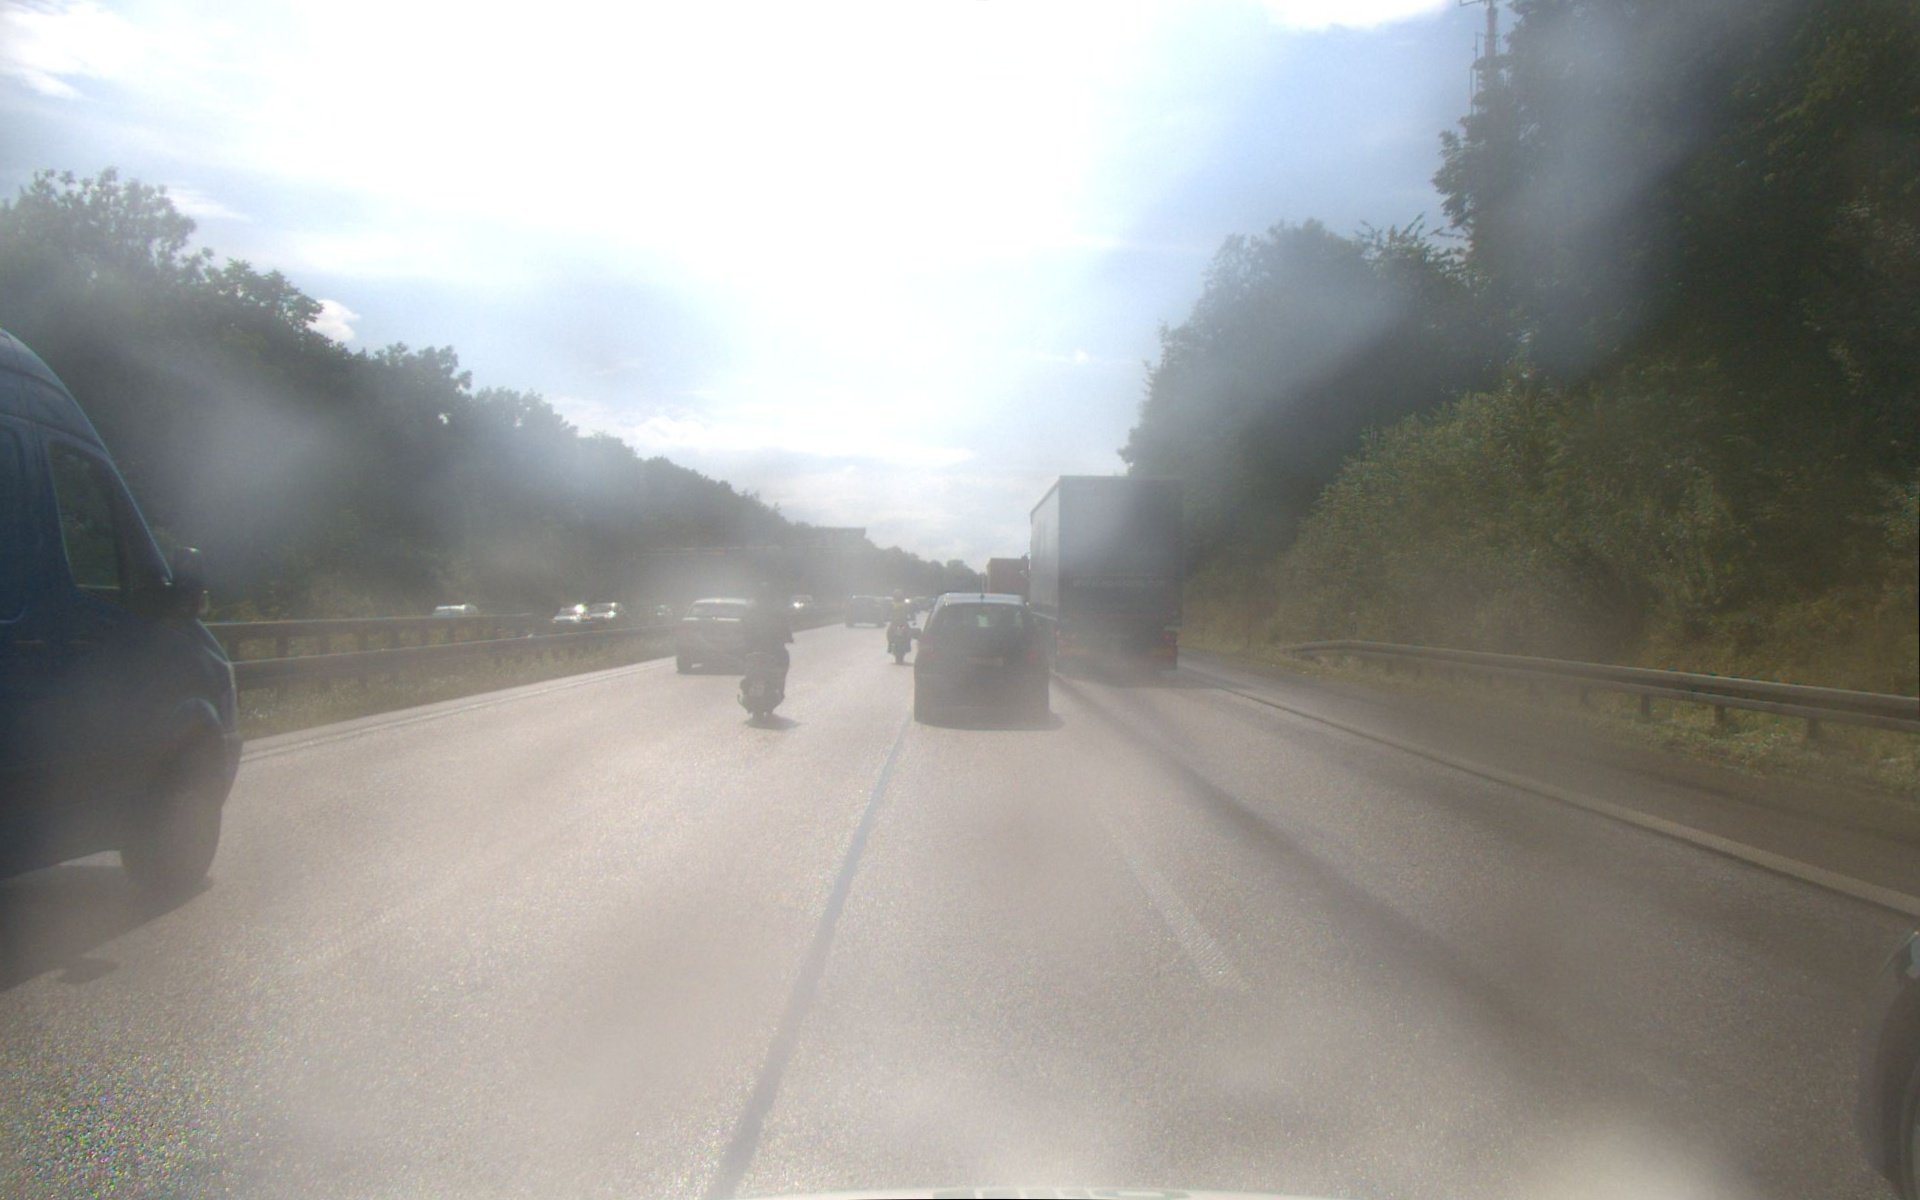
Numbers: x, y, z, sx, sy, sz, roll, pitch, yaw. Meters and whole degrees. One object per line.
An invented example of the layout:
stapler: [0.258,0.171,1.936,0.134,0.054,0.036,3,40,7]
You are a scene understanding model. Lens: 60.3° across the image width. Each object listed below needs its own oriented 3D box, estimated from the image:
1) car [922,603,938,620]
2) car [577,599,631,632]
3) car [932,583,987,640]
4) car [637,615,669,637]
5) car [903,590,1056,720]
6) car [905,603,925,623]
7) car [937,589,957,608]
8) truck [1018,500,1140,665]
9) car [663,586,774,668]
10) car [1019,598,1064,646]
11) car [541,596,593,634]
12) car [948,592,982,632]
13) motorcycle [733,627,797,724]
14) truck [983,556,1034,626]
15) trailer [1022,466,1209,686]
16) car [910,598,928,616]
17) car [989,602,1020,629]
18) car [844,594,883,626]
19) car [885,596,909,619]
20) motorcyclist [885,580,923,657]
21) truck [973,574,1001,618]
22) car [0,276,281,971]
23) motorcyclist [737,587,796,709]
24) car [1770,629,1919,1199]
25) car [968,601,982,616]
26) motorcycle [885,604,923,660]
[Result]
car: [-3.900,1.482,213.461,1.953,2.049,3.999,1,0,-1]
car: [-17.897,0.776,83.312,1.882,1.608,3.999,-1,0,-1]
car: [-0.052,0.424,61.530,1.953,2.049,3.999,1,0,-1]
car: [-21.675,1.806,116.883,1.597,1.508,3.786,0,0,0]
car: [0.224,0.683,22.533,1.876,1.592,4.313,0,0,-1]
car: [-4.709,1.404,172.910,1.953,2.049,3.999,1,0,-1]
car: [-1.042,-0.146,135.691,1.598,1.516,3.436,0,0,-1]
truck: [3.292,-0.458,47.342,2.990,4.401,5.885,1,0,0]
car: [-5.031,0.543,34.960,1.722,1.622,4.330,0,0,-1]
car: [3.629,0.980,74.359,1.811,2.049,4.087,1,0,0]
car: [-22.277,0.813,93.894,1.953,2.049,3.999,2,0,-1]
car: [0.240,0.618,84.244,1.641,1.970,3.773,0,0,-1]
motorcycle: [-2.404,0.905,20.562,0.662,1.106,1.980,1,0,-3]
truck: [3.210,-0.590,111.157,3.136,4.481,9.432,1,0,0]
trailer: [3.375,-0.467,40.107,3.025,4.388,14.102,0,0,-1]
car: [-4.774,0.859,193.720,1.953,2.049,3.999,1,0,-1]
car: [2.502,0.862,94.131,1.641,1.516,3.436,0,0,-1]
car: [-5.106,0.539,88.218,1.854,1.656,4.194,0,0,-1]
car: [-4.612,0.546,121.246,1.641,1.625,3.436,0,0,-1]
motorcyclist: [-1.329,0.437,39.483,0.804,1.791,1.390,1,-1,1]
truck: [3.000,-0.386,184.513,2.823,4.770,12.657,1,0,0]
car: [-4.711,0.086,6.197,1.974,2.695,5.776,0,0,-1]
motorcyclist: [-2.390,0.582,20.515,0.657,1.467,1.019,1,-1,-3]
car: [3.027,0.790,2.210,1.719,1.421,4.367,0,0,-1]
car: [2.075,1.241,230.131,1.953,2.049,3.999,1,0,-1]
motorcycle: [-1.329,0.756,39.477,0.803,1.285,2.117,1,0,1]
